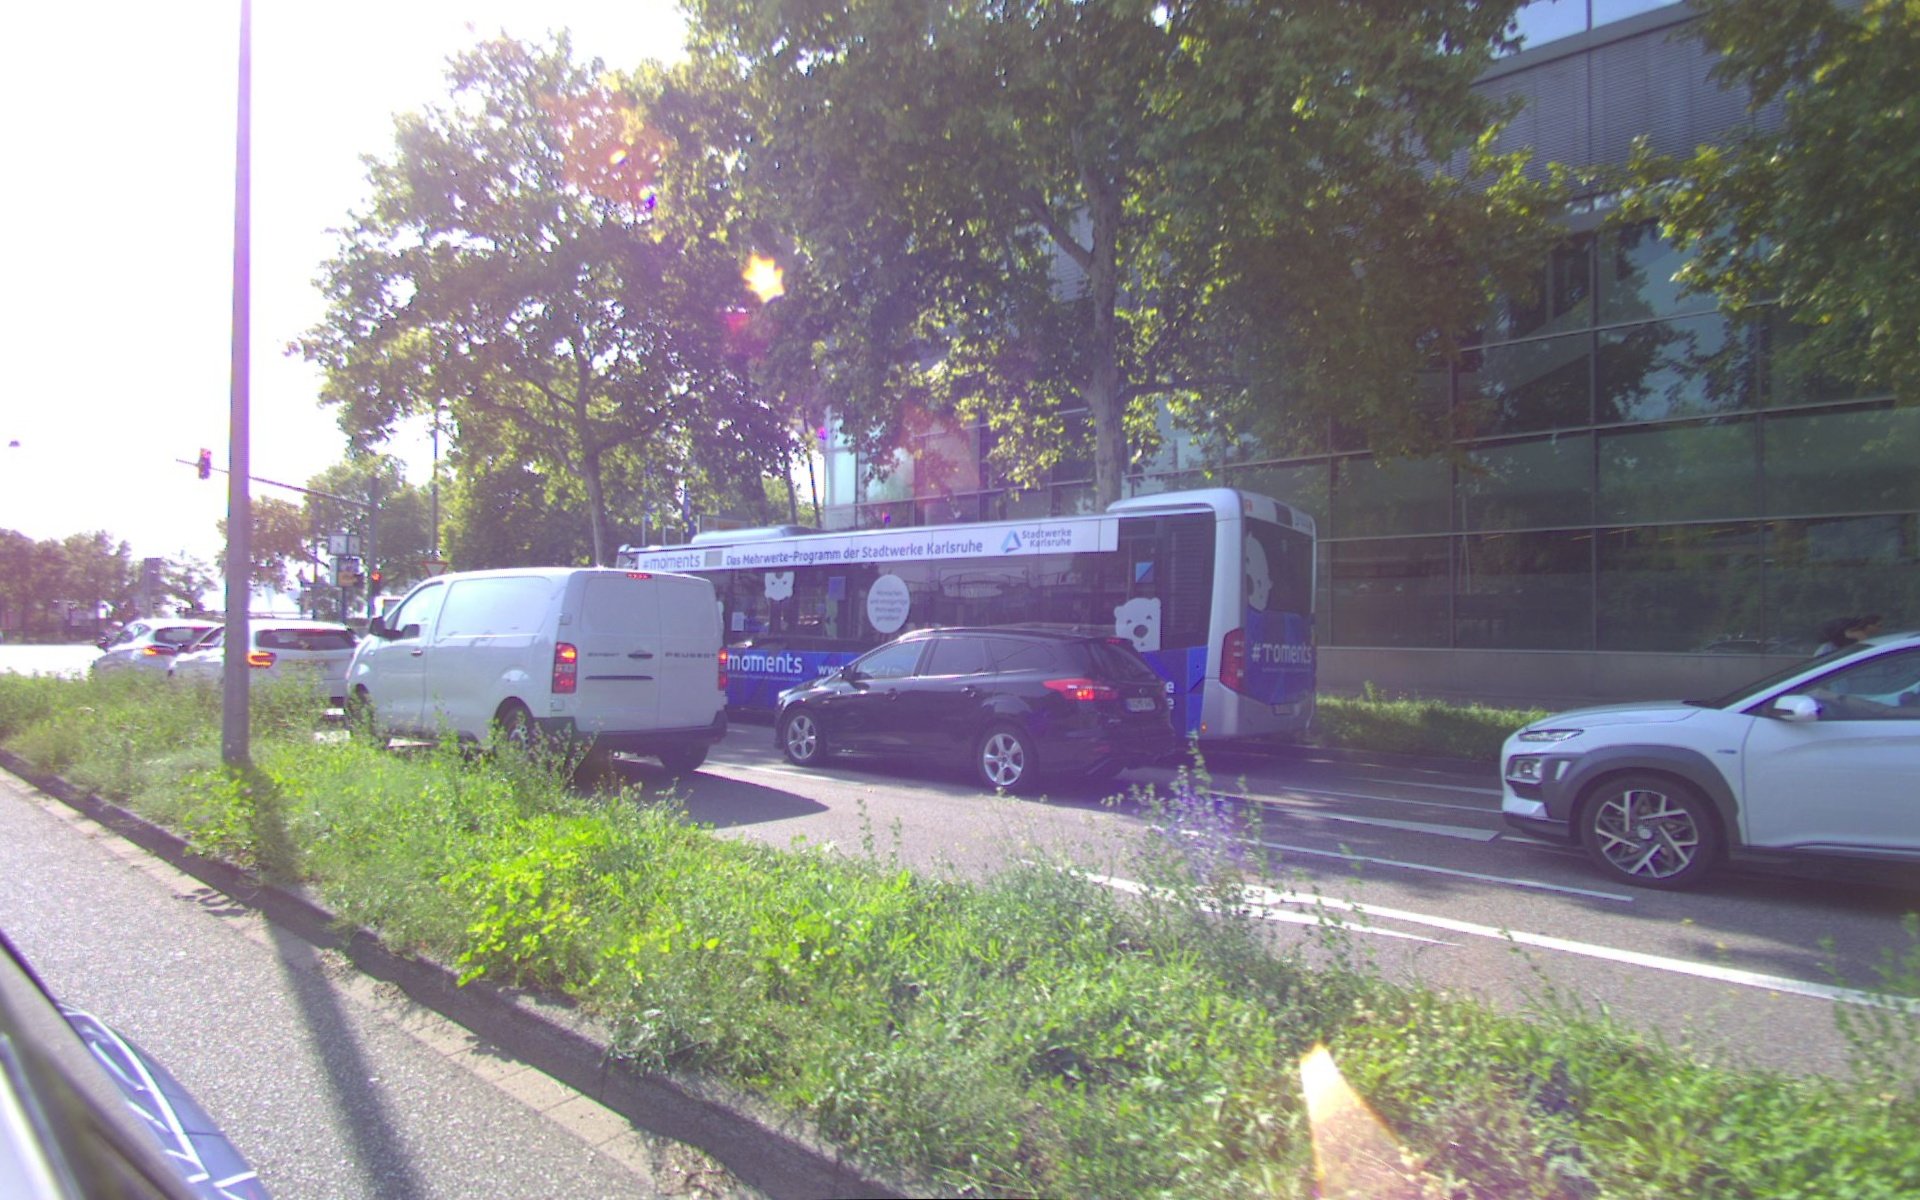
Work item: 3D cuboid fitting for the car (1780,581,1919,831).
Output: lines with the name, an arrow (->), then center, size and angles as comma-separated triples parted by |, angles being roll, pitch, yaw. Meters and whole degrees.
car -> 9.036, 0.838, 7.361 | 4.744, 1.902, 1.686 | -1, -4, 40

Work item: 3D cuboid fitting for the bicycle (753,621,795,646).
bicycle -> -8.379, 1.498, 45.650 | 1.838, 1.102, 0.528 | 0, -1, -8

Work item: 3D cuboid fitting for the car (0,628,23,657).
car -> -50.594, 2.186, 50.867 | 1.835, 1.457, 5.426 | 0, -1, 2

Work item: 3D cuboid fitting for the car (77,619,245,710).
car -> -14.826, 1.113, 18.708 | 3.997, 1.507, 1.627 | -1, -2, 40

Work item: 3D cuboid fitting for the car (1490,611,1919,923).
car -> 5.398, 0.875, 5.609 | 4.135, 1.540, 1.678 | -1, -4, 39

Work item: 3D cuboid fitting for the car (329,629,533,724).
car -> -9.366, 1.280, 17.807 | 3.995, 1.453, 1.689 | -1, -4, 39

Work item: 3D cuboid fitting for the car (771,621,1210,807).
car -> 0.157, 0.976, 9.969 | 4.185, 1.444, 1.630 | -1, -4, 40

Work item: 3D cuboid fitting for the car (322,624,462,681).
car -> -14.799, 1.309, 26.298 | 4.154, 1.363, 1.693 | -1, -2, 38

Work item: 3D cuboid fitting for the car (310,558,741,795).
car -> -4.571, 0.677, 10.293 | 4.884, 1.878, 1.893 | -1, -4, 39

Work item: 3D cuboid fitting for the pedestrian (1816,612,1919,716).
pedestrian -> 12.343, 0.849, 13.765 | 1.031, 1.360, 0.493 | -1, -2, 39

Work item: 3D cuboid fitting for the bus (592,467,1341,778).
bus -> -0.980, 0.297, 15.033 | 12.300, 3.103, 2.564 | -1, -2, 40

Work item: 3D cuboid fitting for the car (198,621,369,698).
car -> -14.816, 1.251, 22.102 | 4.258, 1.515, 1.837 | -1, -3, 38

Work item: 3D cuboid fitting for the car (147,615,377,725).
car -> -10.454, 1.002, 15.060 | 4.079, 1.413, 1.692 | -2, -4, 39

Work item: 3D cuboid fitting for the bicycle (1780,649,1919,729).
bicycle -> 12.342, 1.193, 13.760 | 1.829, 1.016, 0.498 | -1, -2, 39
